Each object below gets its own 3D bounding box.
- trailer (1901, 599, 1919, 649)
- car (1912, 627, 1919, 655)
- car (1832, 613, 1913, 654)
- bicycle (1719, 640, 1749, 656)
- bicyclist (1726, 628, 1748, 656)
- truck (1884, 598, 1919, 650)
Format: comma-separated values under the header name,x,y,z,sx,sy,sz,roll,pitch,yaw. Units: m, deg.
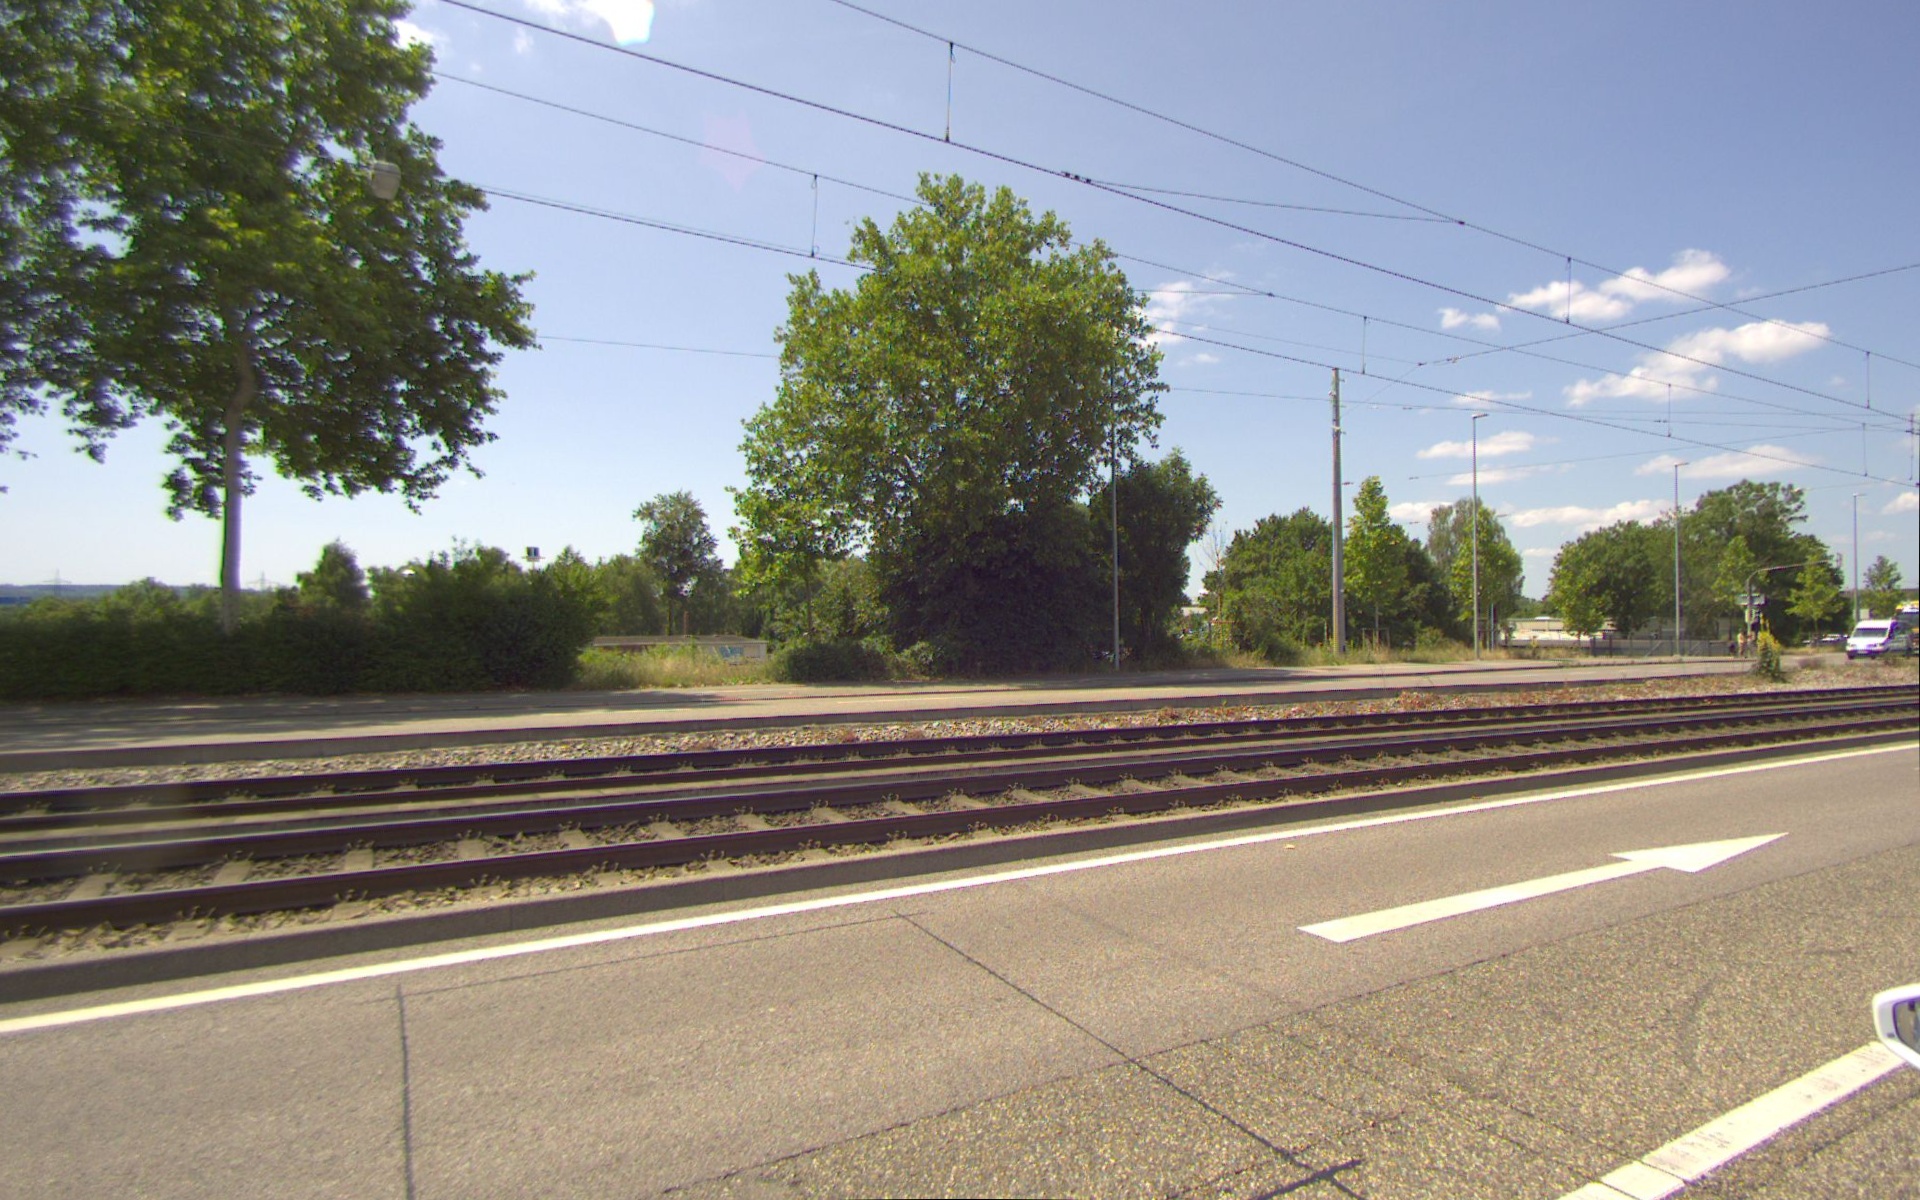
name,x,y,z,sx,sy,sz,roll,pitch,yaw
trailer,75.293,1.843,75.231,15.692,3.565,2.753,1,0,-31
car,62.381,2.620,63.631,4.408,1.692,1.813,1,0,-30
car,60.335,2.206,66.370,6.163,2.623,2.232,0,-3,-31
bicycle,51.233,3.178,66.520,0.481,1.000,1.482,1,0,-33
bicyclist,51.322,2.784,66.356,0.337,1.798,1.112,1,0,-34
truck,68.608,1.718,71.263,6.364,3.616,2.754,1,0,-30
